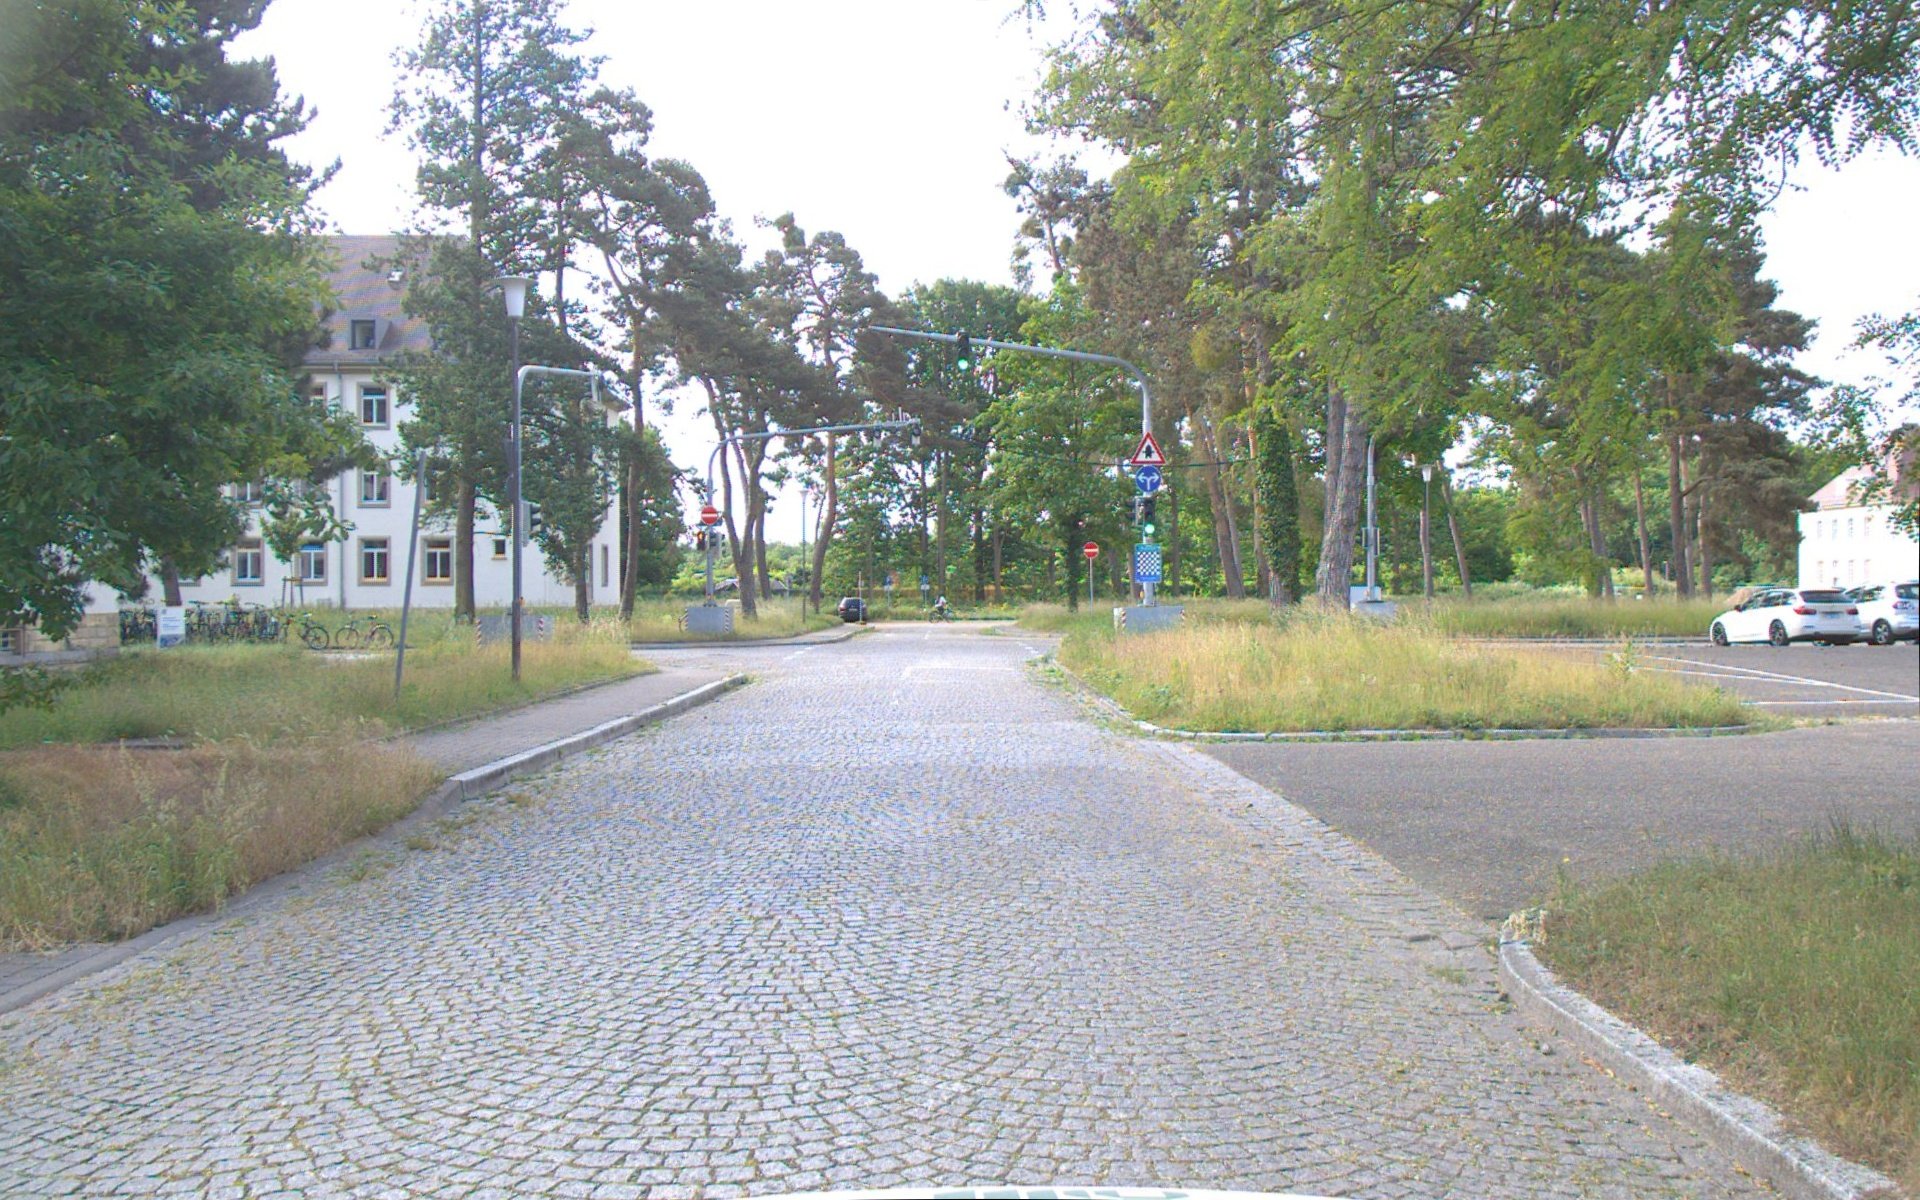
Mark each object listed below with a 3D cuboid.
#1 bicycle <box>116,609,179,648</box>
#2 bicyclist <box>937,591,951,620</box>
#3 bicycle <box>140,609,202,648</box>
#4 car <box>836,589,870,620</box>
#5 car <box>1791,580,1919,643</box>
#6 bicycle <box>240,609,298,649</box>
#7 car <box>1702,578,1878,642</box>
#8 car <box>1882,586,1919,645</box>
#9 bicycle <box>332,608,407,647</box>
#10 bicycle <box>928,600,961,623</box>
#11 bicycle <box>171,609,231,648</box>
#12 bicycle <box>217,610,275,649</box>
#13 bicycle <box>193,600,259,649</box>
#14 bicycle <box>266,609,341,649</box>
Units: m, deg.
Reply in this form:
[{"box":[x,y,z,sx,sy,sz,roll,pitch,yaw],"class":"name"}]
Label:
[{"box":[-23.650,0.819,48.188,0.721,1.095,2.273,-1,0,0],"class":"bicycle"},{"box":[-0.948,0.349,98.630,0.737,1.700,0.523,1,-1,-18],"class":"bicyclist"},{"box":[-22.930,0.817,48.128,0.721,1.095,2.273,-1,0,0],"class":"bicycle"},{"box":[-6.746,0.276,104.625,2.014,1.878,3.999,-1,0,-2],"class":"car"},{"box":[23.204,0.324,41.769,1.954,1.507,4.421,-1,-1,-4],"class":"car"},{"box":[-20.152,0.834,48.282,0.721,1.095,2.273,-1,0,0],"class":"bicycle"},{"box":[20.739,0.281,41.548,1.954,1.507,4.421,-1,-1,-4],"class":"car"},{"box":[25.816,0.371,42.105,1.954,1.507,4.421,-1,-1,-4],"class":"car"},{"box":[-16.826,0.780,47.125,1.818,1.095,0.831,-1,0,1],"class":"bicycle"},{"box":[-0.922,0.689,98.629,1.939,1.343,0.515,1,-1,-19],"class":"bicycle"},{"box":[-22.303,0.838,48.632,0.721,1.095,2.273,-1,0,0],"class":"bicycle"},{"box":[-20.781,0.845,48.192,0.721,1.095,2.273,-1,0,0],"class":"bicycle"},{"box":[-21.516,0.699,48.535,0.721,1.410,2.711,-1,0,0],"class":"bicycle"},{"box":[-18.677,0.816,47.056,1.818,1.095,0.738,-1,0,1],"class":"bicycle"}]
